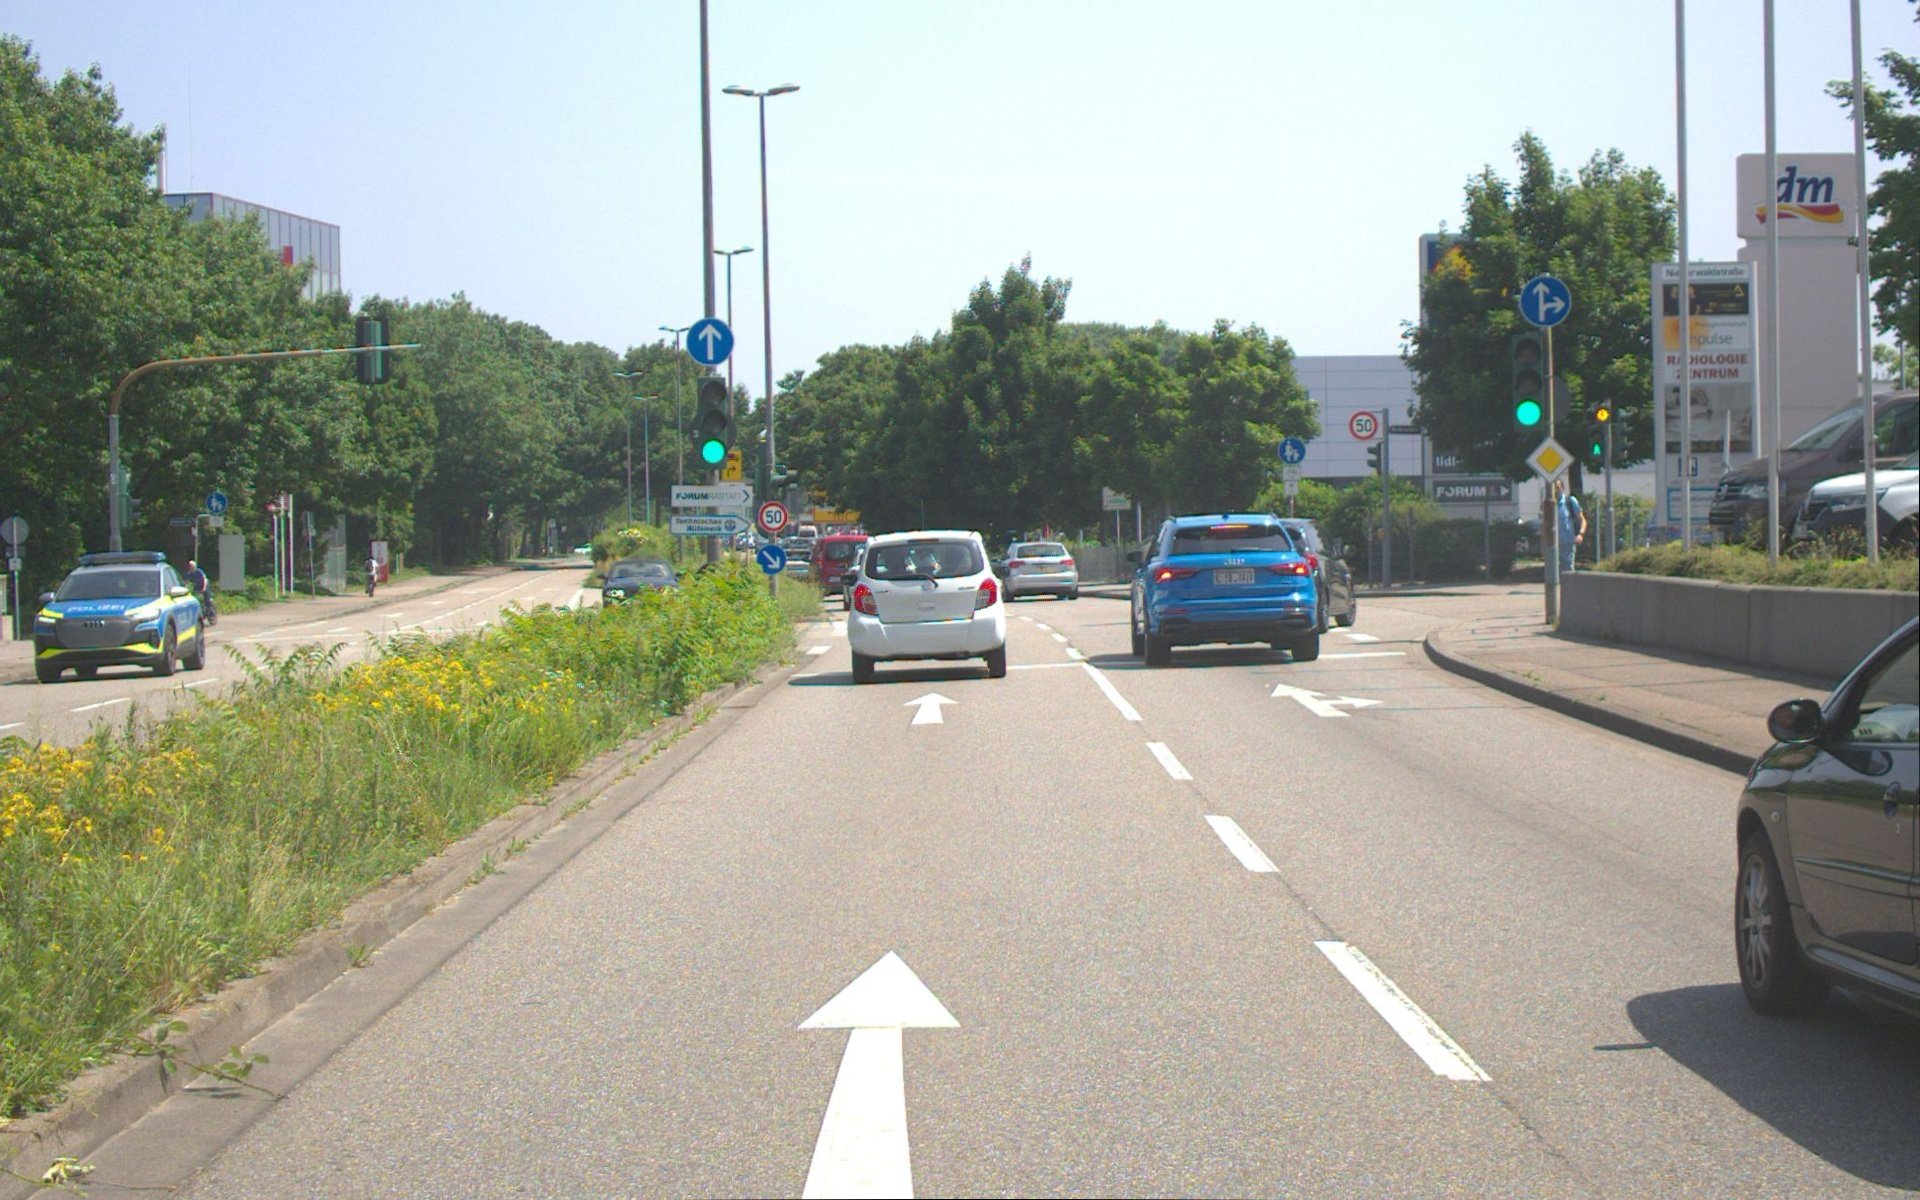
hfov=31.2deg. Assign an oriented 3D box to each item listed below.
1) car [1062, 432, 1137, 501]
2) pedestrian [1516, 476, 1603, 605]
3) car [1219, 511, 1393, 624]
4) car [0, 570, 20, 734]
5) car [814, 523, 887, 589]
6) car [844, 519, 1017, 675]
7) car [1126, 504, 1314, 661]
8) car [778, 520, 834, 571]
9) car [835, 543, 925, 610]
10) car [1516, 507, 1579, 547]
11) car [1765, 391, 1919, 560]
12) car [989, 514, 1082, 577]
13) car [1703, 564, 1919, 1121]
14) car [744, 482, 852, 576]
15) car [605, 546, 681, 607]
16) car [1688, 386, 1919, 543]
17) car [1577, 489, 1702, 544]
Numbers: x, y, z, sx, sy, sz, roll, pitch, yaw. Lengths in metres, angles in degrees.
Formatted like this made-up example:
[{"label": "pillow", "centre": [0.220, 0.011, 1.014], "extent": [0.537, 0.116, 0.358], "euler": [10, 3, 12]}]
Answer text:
[{"label": "car", "centre": [4.210, -4.023, 104.139], "extent": [1.769, 2.006, 3.992], "euler": [-2, 2, -5]}, {"label": "pedestrian", "centre": [7.556, -0.754, 43.309], "extent": [0.775, 1.602, 1.083], "euler": [-1, 1, 26]}, {"label": "car", "centre": [4.490, -0.439, 44.204], "extent": [1.459, 1.371, 3.489], "euler": [-1, 1, 19]}, {"label": "car", "centre": [-9.090, 0.493, 28.989], "extent": [1.735, 1.408, 4.373], "euler": [-1, 1, -9]}, {"label": "car", "centre": [-2.999, -1.207, 93.852], "extent": [1.775, 1.734, 4.001], "euler": [-1, 1, -4]}, {"label": "car", "centre": [-0.295, -0.073, 36.552], "extent": [1.748, 1.515, 3.746], "euler": [0, 2, 0]}, {"label": "car", "centre": [2.792, -0.233, 37.537], "extent": [1.828, 1.574, 3.606], "euler": [-1, 2, 1]}, {"label": "car", "centre": [-5.274, -1.884, 118.003], "extent": [1.797, 1.684, 4.000], "euler": [-2, 1, -1]}, {"label": "car", "centre": [-1.857, -0.567, 79.050], "extent": [1.993, 1.437, 4.001], "euler": [-1, 1, -2]}, {"label": "car", "centre": [19.074, -2.377, 111.687], "extent": [1.504, 1.257, 3.165], "euler": [-1, 1, 1]}, {"label": "car", "centre": [10.201, -1.239, 33.091], "extent": [4.346, 1.539, 2.000], "euler": [-2, 1, -3]}, {"label": "car", "centre": [1.773, -1.307, 82.245], "extent": [1.993, 1.415, 4.000], "euler": [-2, 1, -1]}, {"label": "car", "centre": [3.268, 0.637, 9.416], "extent": [1.627, 1.359, 3.606], "euler": [1, 2, -1]}, {"label": "car", "centre": [-3.090, -1.372, 64.971], "extent": [1.819, 1.656, 4.001], "euler": [-1, 2, -5]}, {"label": "car", "centre": [-6.914, -0.527, 74.794], "extent": [1.573, 1.264, 3.731], "euler": [-1, 1, -6]}, {"label": "car", "centre": [9.861, -1.430, 35.922], "extent": [3.986, 1.539, 2.000], "euler": [-2, 1, -3]}, {"label": "car", "centre": [18.908, -2.328, 95.737], "extent": [1.505, 1.459, 3.164], "euler": [-2, 1, -40]}]
